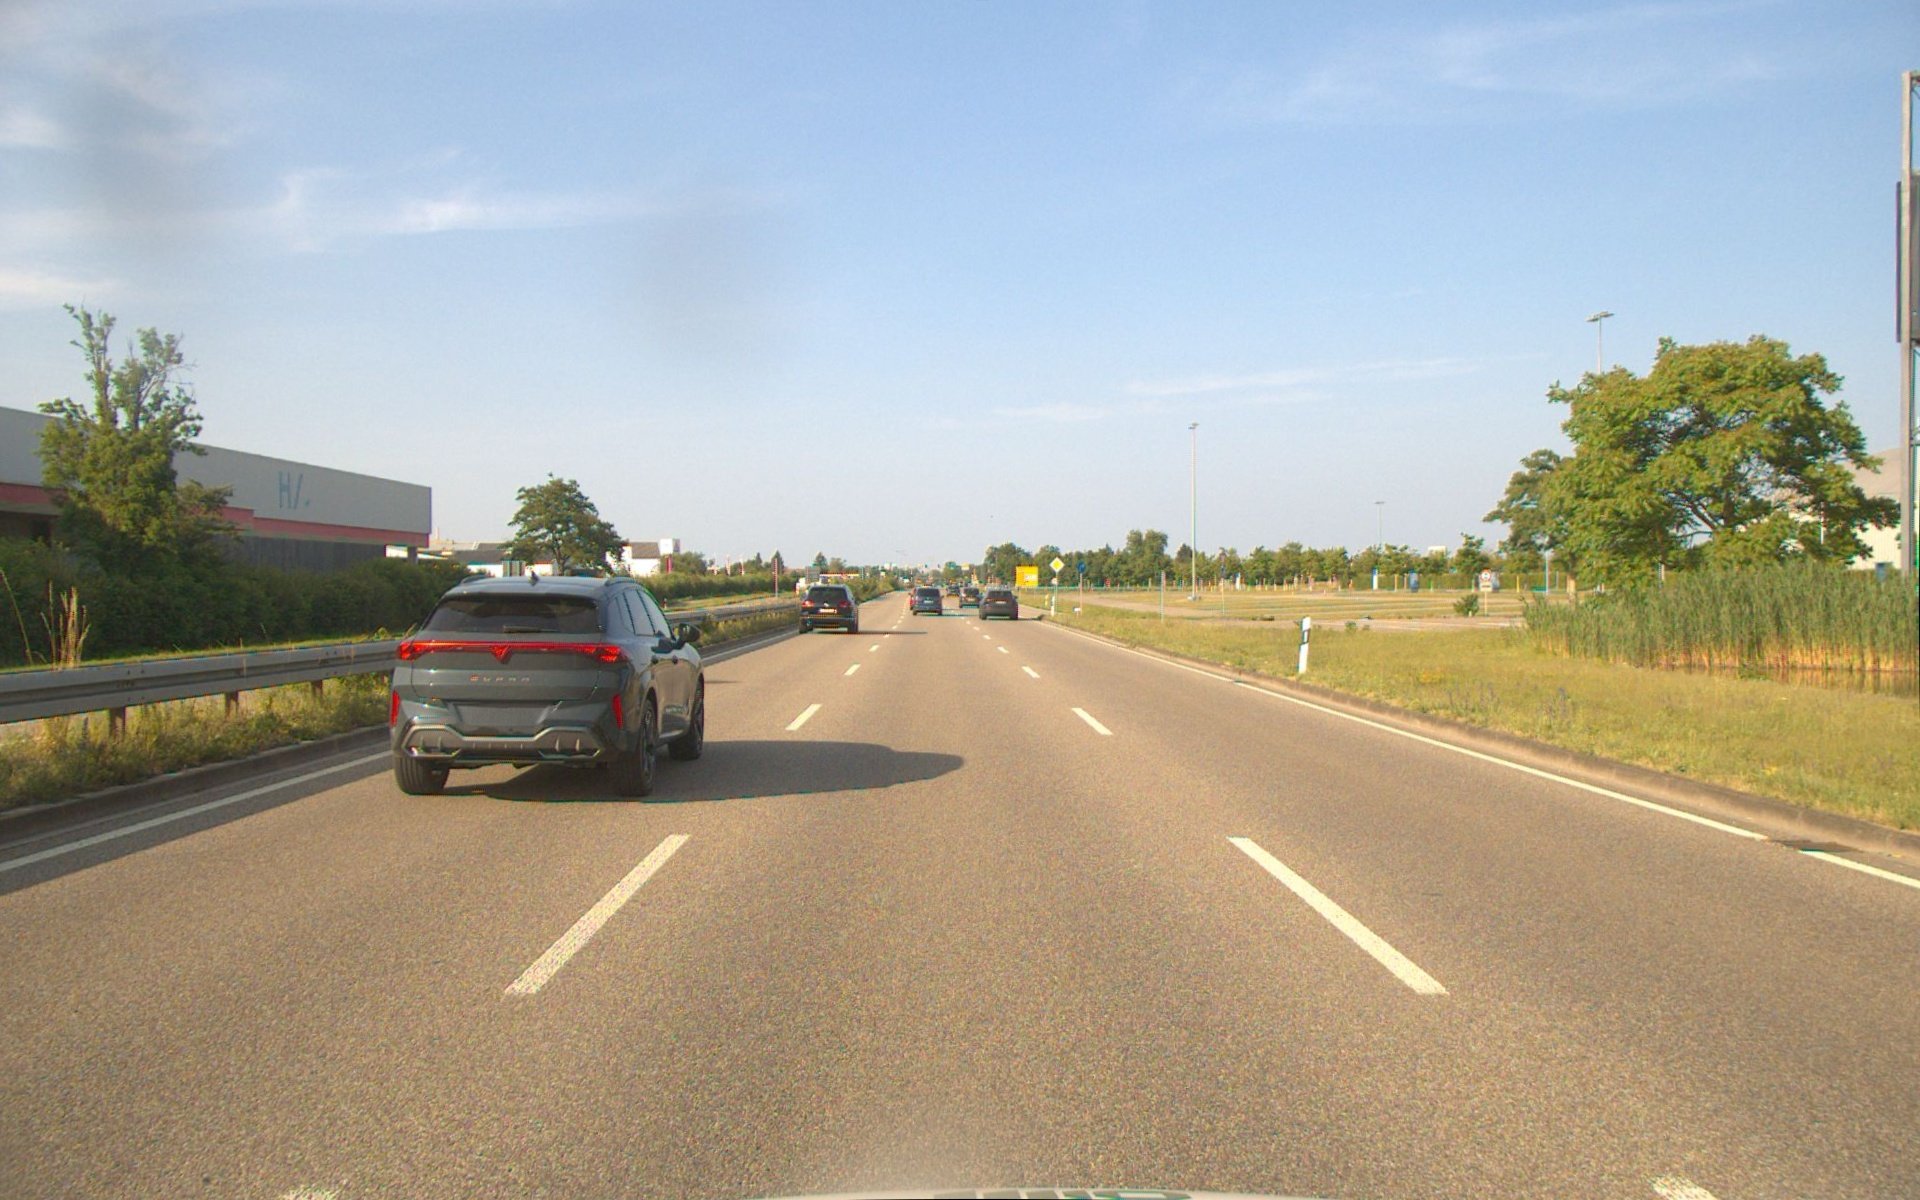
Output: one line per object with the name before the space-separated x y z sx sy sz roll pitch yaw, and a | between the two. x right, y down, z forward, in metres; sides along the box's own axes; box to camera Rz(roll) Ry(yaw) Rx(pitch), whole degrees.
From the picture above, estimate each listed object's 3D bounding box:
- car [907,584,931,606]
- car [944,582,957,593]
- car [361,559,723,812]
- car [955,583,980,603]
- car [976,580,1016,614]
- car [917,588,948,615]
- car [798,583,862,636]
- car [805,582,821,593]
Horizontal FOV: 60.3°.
car | -2.956 -0.373 119.459 1.614 1.488 3.980 2 1 -1
car | -1.197 -1.592 205.646 1.472 1.336 3.155 2 1 -1
car | -3.117 0.550 13.296 1.808 1.640 4.400 2 1 -1
car | 0.584 -0.543 131.697 1.835 1.488 3.980 2 1 -1
car | 1.901 -0.189 88.127 1.893 1.709 4.400 2 1 -1
car | -1.639 0.059 98.956 1.776 1.488 4.400 2 1 -1
car | -4.503 0.304 57.772 1.893 1.709 4.400 2 1 -1
car | -18.366 -1.560 206.733 1.743 1.449 3.999 0 0 -1
